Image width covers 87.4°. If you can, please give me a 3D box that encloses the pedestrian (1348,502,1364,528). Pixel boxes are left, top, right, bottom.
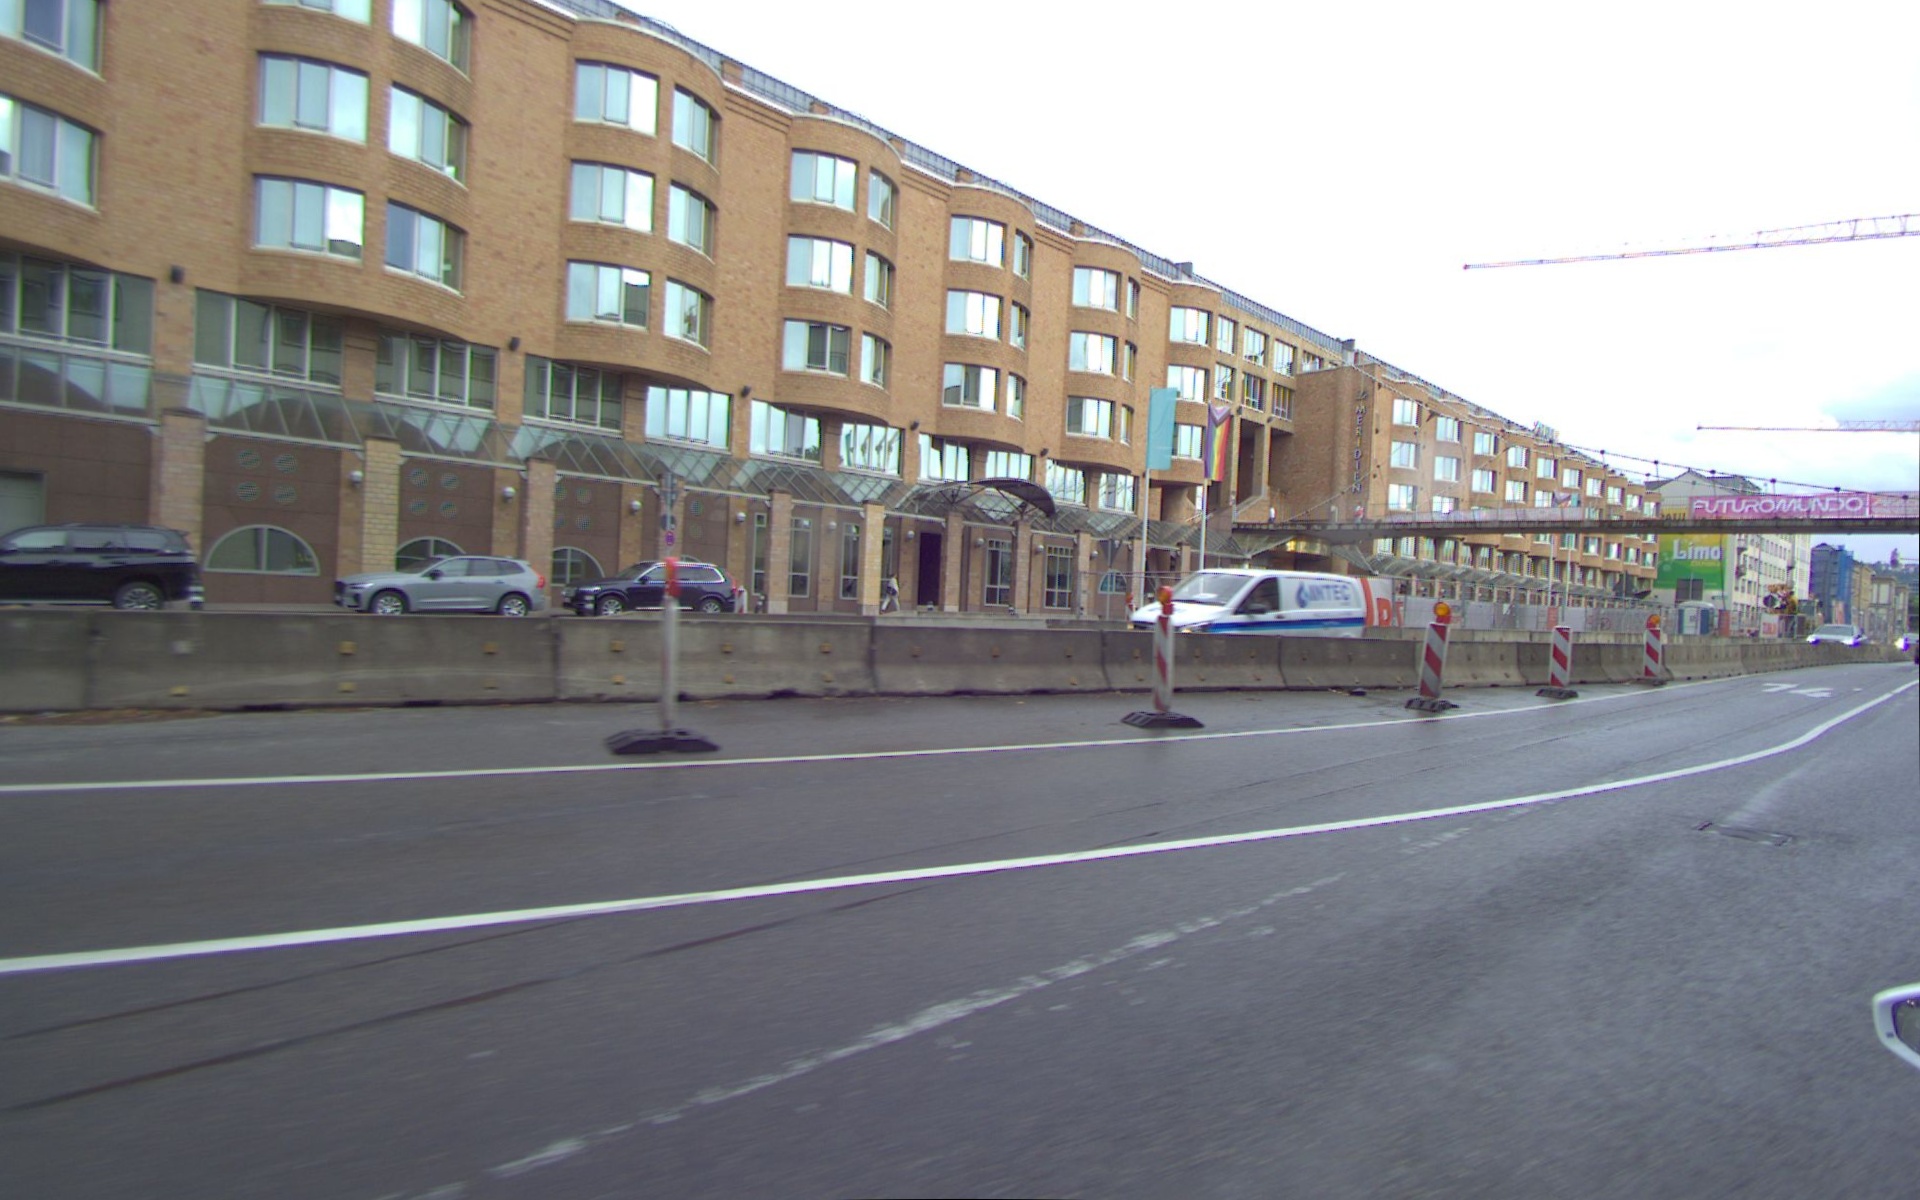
[{"bbox_3d":[23.146,-4.954,58.723,0.613,1.471,0.615,1,0,-39],"label":"pedestrian"}]

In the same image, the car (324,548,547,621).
[{"bbox_3d":[-12.954,-0.351,24.996,1.973,1.615,4.511,4,1,45],"label":"car"}]

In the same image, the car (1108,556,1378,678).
[{"bbox_3d":[5.131,0.310,17.974,4.821,1.910,1.981,2,1,-35],"label":"car"}]

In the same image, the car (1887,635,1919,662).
[{"bbox_3d":[67.538,3.413,71.475,3.871,1.645,1.790,-1,2,-40],"label":"car"}]

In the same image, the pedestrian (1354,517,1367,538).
[{"bbox_3d":[23.617,-4.267,59.252,0.480,1.210,0.471,1,0,-39],"label":"pedestrian"}]

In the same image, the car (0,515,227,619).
[{"bbox_3d":[-17.754,-0.642,19.888,1.973,1.911,4.982,4,1,45],"label":"car"}]

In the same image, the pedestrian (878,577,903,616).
[{"bbox_3d":[-2.703,-0.140,39.014,0.730,1.471,0.611,1,0,-40],"label":"pedestrian"}]

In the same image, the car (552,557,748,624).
[{"bbox_3d":[-8.815,-0.241,28.842,5.011,1.713,1.976,2,1,-41],"label":"car"}]

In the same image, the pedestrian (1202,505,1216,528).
[{"bbox_3d":[16.285,-5.451,65.746,0.613,1.471,0.615,1,0,-39],"label":"pedestrian"}]

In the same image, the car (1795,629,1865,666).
[{"bbox_3d":[42.983,2.305,49.615,4.666,1.645,1.976,1,1,-41],"label":"car"}]

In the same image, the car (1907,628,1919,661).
[{"bbox_3d":[45.917,2.117,47.106,4.623,1.463,1.845,2,1,-43],"label":"car"}]

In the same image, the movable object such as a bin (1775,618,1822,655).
[{"bbox_3d":[54.948,2.399,65.781,2.006,2.307,4.266,-2,-3,44],"label":"movable object such as a bin"}]
